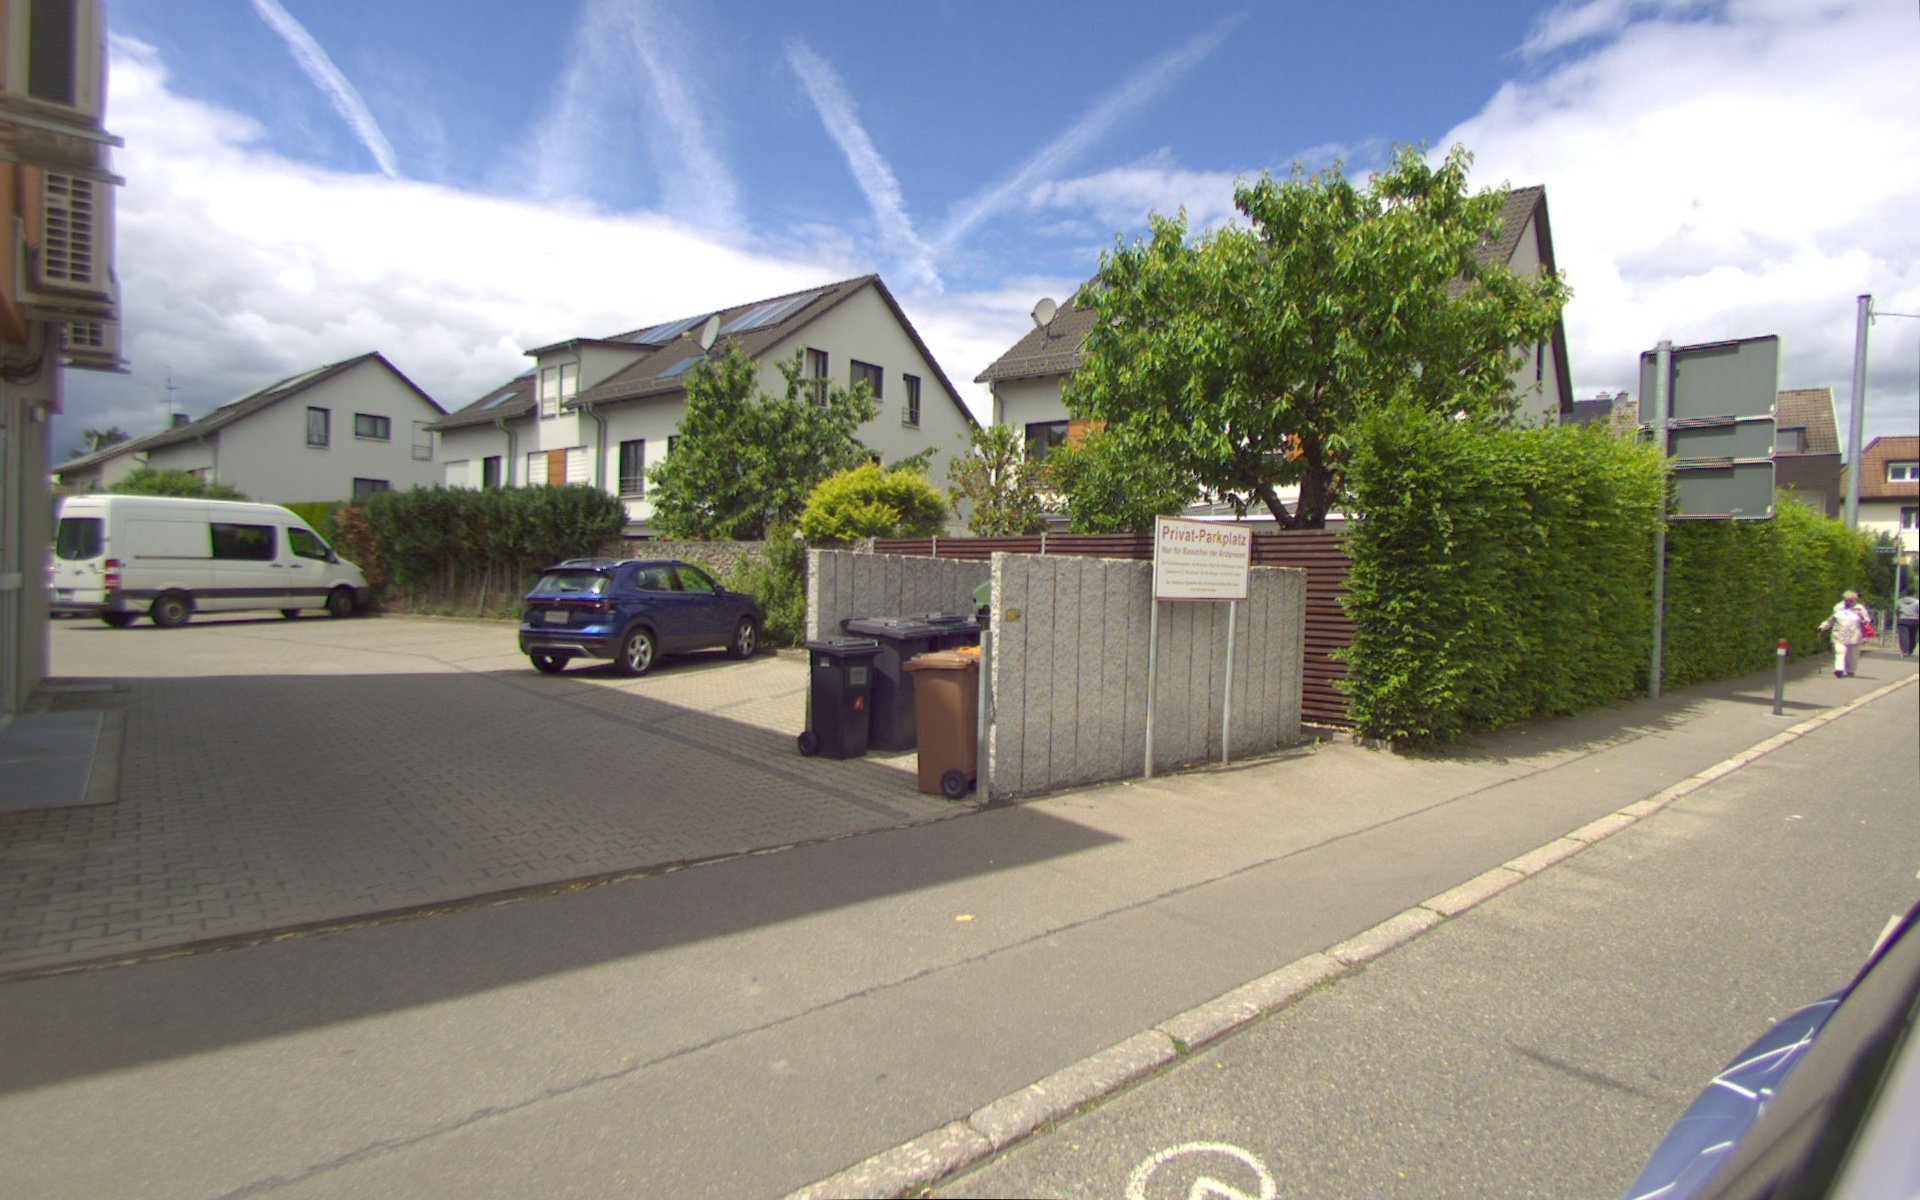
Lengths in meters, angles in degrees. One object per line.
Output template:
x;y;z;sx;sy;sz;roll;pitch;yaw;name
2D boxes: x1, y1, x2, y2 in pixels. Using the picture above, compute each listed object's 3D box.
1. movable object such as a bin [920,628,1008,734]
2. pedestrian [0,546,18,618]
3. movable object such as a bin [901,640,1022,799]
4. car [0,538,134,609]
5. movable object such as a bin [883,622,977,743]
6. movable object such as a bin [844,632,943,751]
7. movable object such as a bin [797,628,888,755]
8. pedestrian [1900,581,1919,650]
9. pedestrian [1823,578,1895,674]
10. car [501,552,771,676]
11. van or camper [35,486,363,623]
0.037;0.727;9.335;0.629;0.903;0.534;1;1;33;movable object such as a bin
-22.085;-0.413;23.338;0.525;1.640;0.437;-1;0;35;pedestrian
0.019;0.777;6.865;0.530;0.963;0.679;1;1;35;movable object such as a bin
-24.511;-0.679;26.657;1.813;1.794;3.952;0;0;34;car
-0.261;0.696;8.878;0.624;0.979;0.534;1;1;33;movable object such as a bin
-0.550;0.740;8.413;0.629;0.903;0.534;1;1;33;movable object such as a bin
-0.923;0.699;7.996;0.490;0.924;0.534;1;1;32;movable object such as a bin
23.230;0.371;24.427;0.821;1.625;0.604;0;3;-40;pedestrian
16.092;0.446;18.119;0.641;1.637;0.801;0;3;-39;pedestrian
-4.592;0.131;14.916;1.768;1.555;3.768;2;2;23;car
-16.154;-0.928;21.946;2.034;2.574;5.475;1;1;21;van or camper
